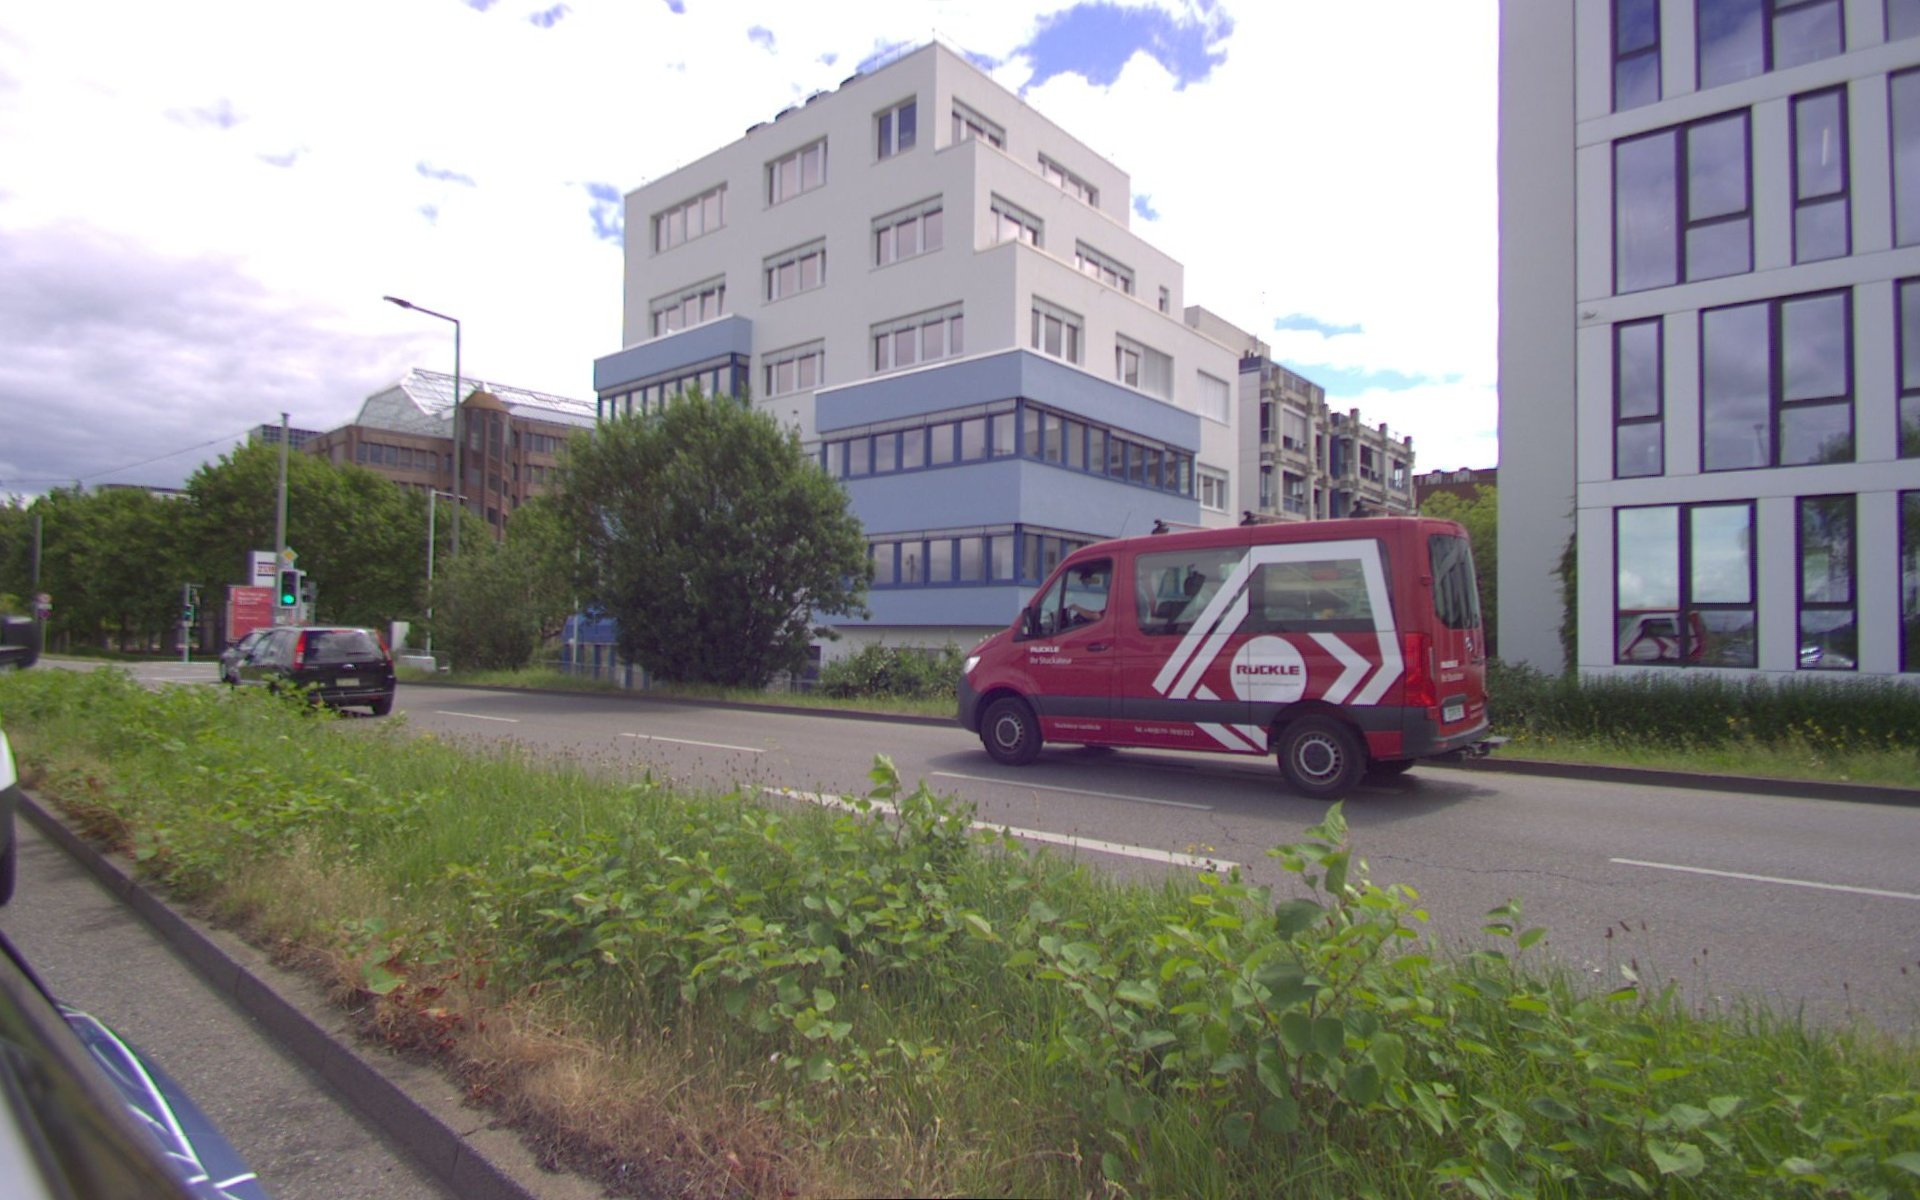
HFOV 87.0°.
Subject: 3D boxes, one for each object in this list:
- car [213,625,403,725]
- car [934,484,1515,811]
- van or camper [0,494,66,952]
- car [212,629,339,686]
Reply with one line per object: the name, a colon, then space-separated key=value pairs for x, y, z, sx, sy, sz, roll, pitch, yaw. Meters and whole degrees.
car: x=-11.108 y=1.180 z=17.147 sx=3.998 sy=1.494 sz=1.661 roll=-2 pitch=-2 yaw=41
car: x=2.333 y=0.418 z=10.010 sx=5.238 sy=2.430 sz=1.973 roll=-1 pitch=-2 yaw=41
van or camper: x=-7.012 y=0.577 z=5.659 sx=5.791 sy=2.029 sz=1.974 roll=-2 pitch=-3 yaw=38
car: x=-18.814 y=1.528 z=27.760 sx=3.997 sy=1.409 sz=1.913 roll=-2 pitch=-2 yaw=41
